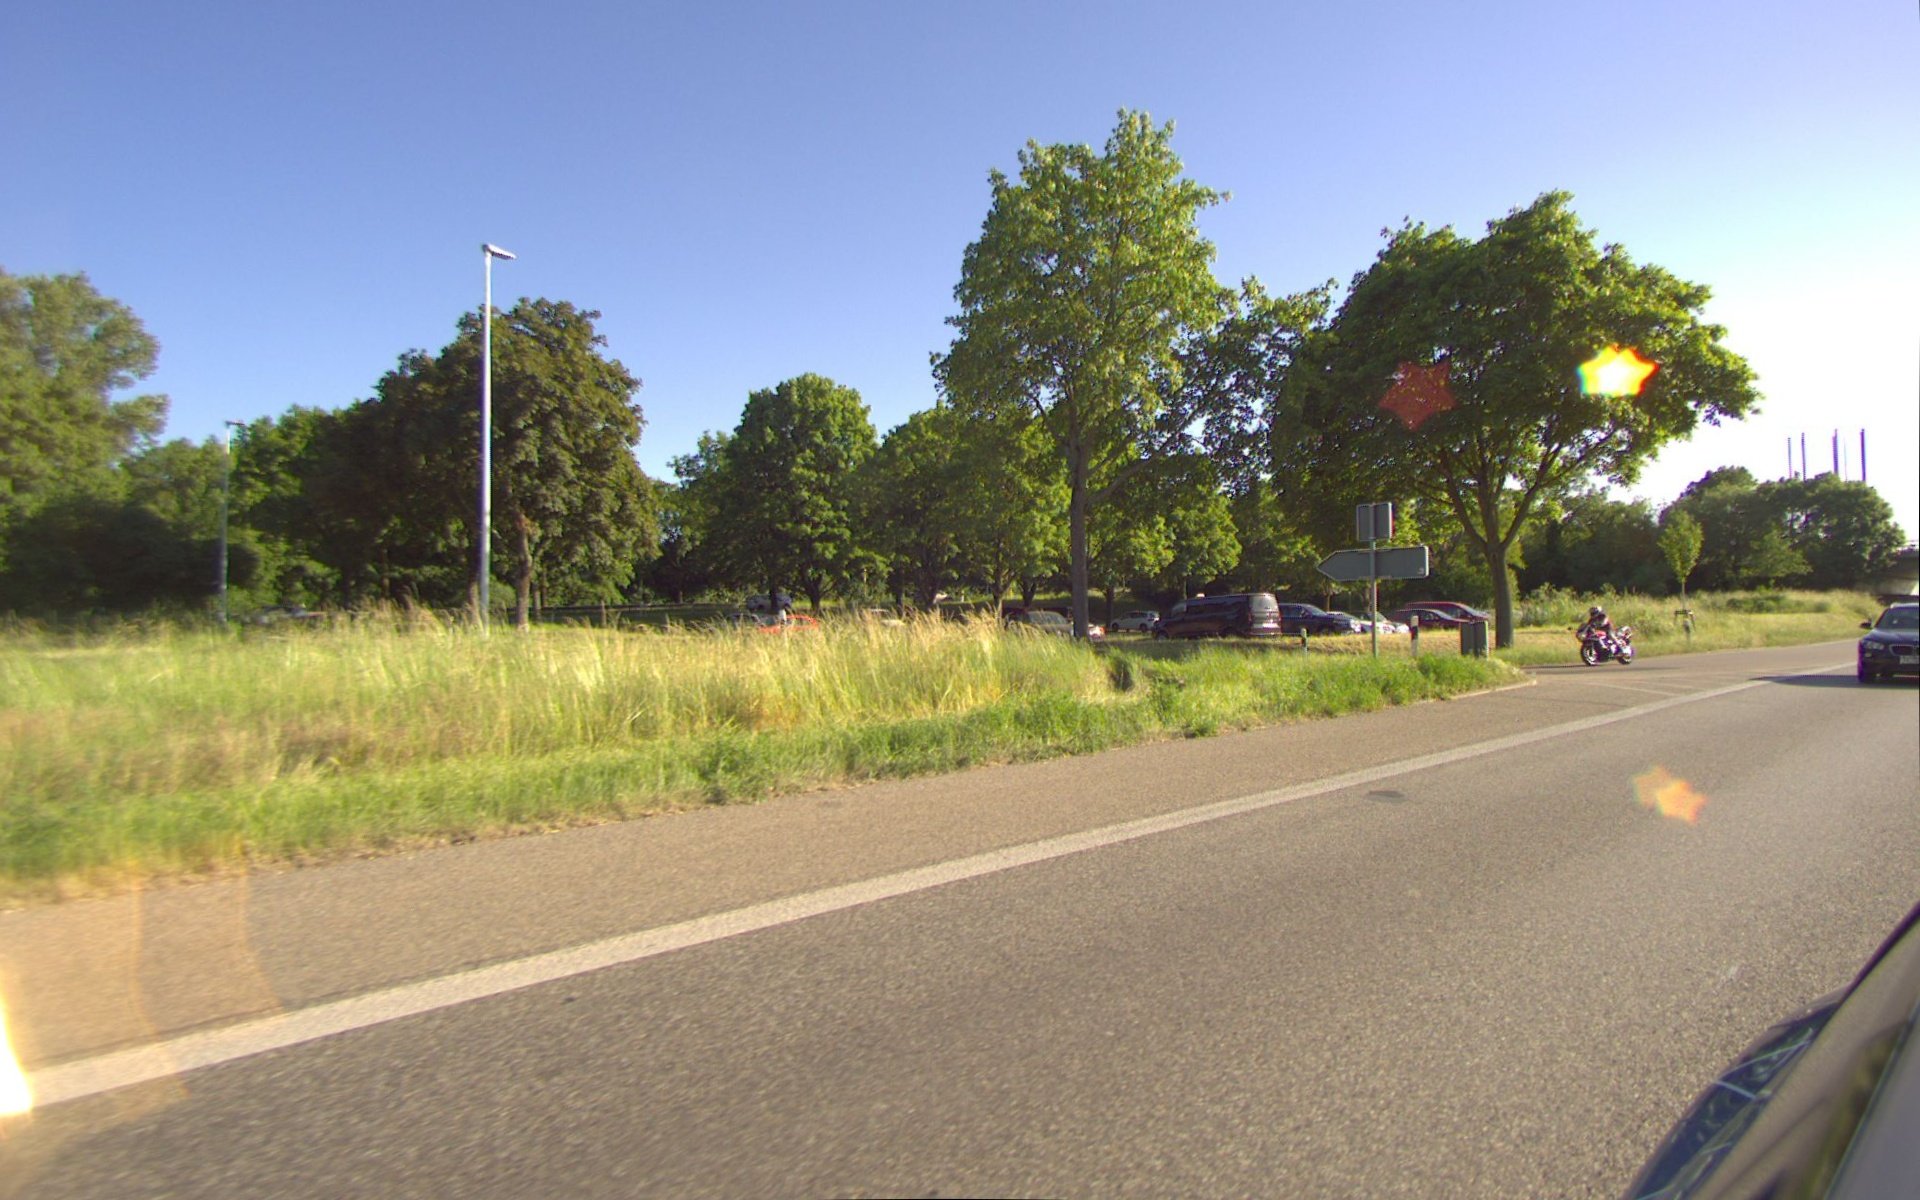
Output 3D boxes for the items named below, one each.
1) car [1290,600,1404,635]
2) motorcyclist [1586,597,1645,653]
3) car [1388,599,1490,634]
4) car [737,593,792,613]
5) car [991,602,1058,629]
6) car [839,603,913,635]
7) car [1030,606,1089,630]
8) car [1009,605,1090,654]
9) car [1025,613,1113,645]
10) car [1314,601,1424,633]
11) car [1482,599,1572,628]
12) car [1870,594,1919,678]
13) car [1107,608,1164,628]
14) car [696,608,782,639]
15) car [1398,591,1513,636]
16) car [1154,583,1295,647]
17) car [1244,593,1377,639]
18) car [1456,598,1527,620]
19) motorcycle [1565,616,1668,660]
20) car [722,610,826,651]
[{"bbox_3d":[17.026,0.804,44.670,1.927,1.327,4.217,-1,-2,-41],"label":"car"},{"bbox_3d":[17.560,0.661,27.115,1.071,1.466,0.821,0,0,-21],"label":"motorcyclist"},{"bbox_3d":[23.432,0.818,49.581,1.927,1.520,4.012,-1,-2,-41],"label":"car"},{"bbox_3d":[-15.778,0.262,81.755,3.932,1.597,1.905,0,-1,-43],"label":"car"},{"bbox_3d":[4.584,1.061,72.063,4.583,1.798,1.917,0,2,43],"label":"car"},{"bbox_3d":[-5.277,1.152,63.150,1.923,1.889,5.199,-1,1,-41],"label":"car"},{"bbox_3d":[7.186,1.354,73.678,1.756,1.580,4.219,-2,-1,-40],"label":"car"},{"bbox_3d":[3.099,1.053,35.939,1.751,1.580,4.232,-2,-2,-10],"label":"car"},{"bbox_3d":[5.271,1.375,49.264,1.947,1.427,4.134,-1,1,-38],"label":"car"},{"bbox_3d":[18.685,0.802,46.373,1.926,1.233,4.219,-1,-2,-39],"label":"car"},{"bbox_3d":[31.501,0.748,56.316,1.893,1.478,3.935,-4,2,-42],"label":"car"},{"bbox_3d":[19.393,0.659,19.872,4.498,1.525,1.702,0,1,-41],"label":"car"},{"bbox_3d":[13.725,1.392,79.306,1.836,1.441,4.114,-4,2,-42],"label":"car"},{"bbox_3d":[-11.878,1.249,54.404,4.169,1.580,1.777,-2,-1,18],"label":"car"},{"bbox_3d":[25.189,0.690,51.576,1.993,2.048,4.794,-4,2,-42],"label":"car"},{"bbox_3d":[9.941,0.626,38.482,2.053,2.163,5.049,-2,-2,-33],"label":"car"},{"bbox_3d":[14.857,0.702,43.096,2.188,1.700,4.856,-1,-2,-44],"label":"car"},{"bbox_3d":[38.813,0.610,73.961,4.029,1.322,2.002,-3,1,-3],"label":"car"},{"bbox_3d":[17.590,0.999,27.114,2.776,1.083,0.821,-1,0,-21],"label":"motorcycle"},{"bbox_3d":[-7.283,1.177,39.978,1.690,1.482,4.101,-2,-1,32],"label":"car"}]
